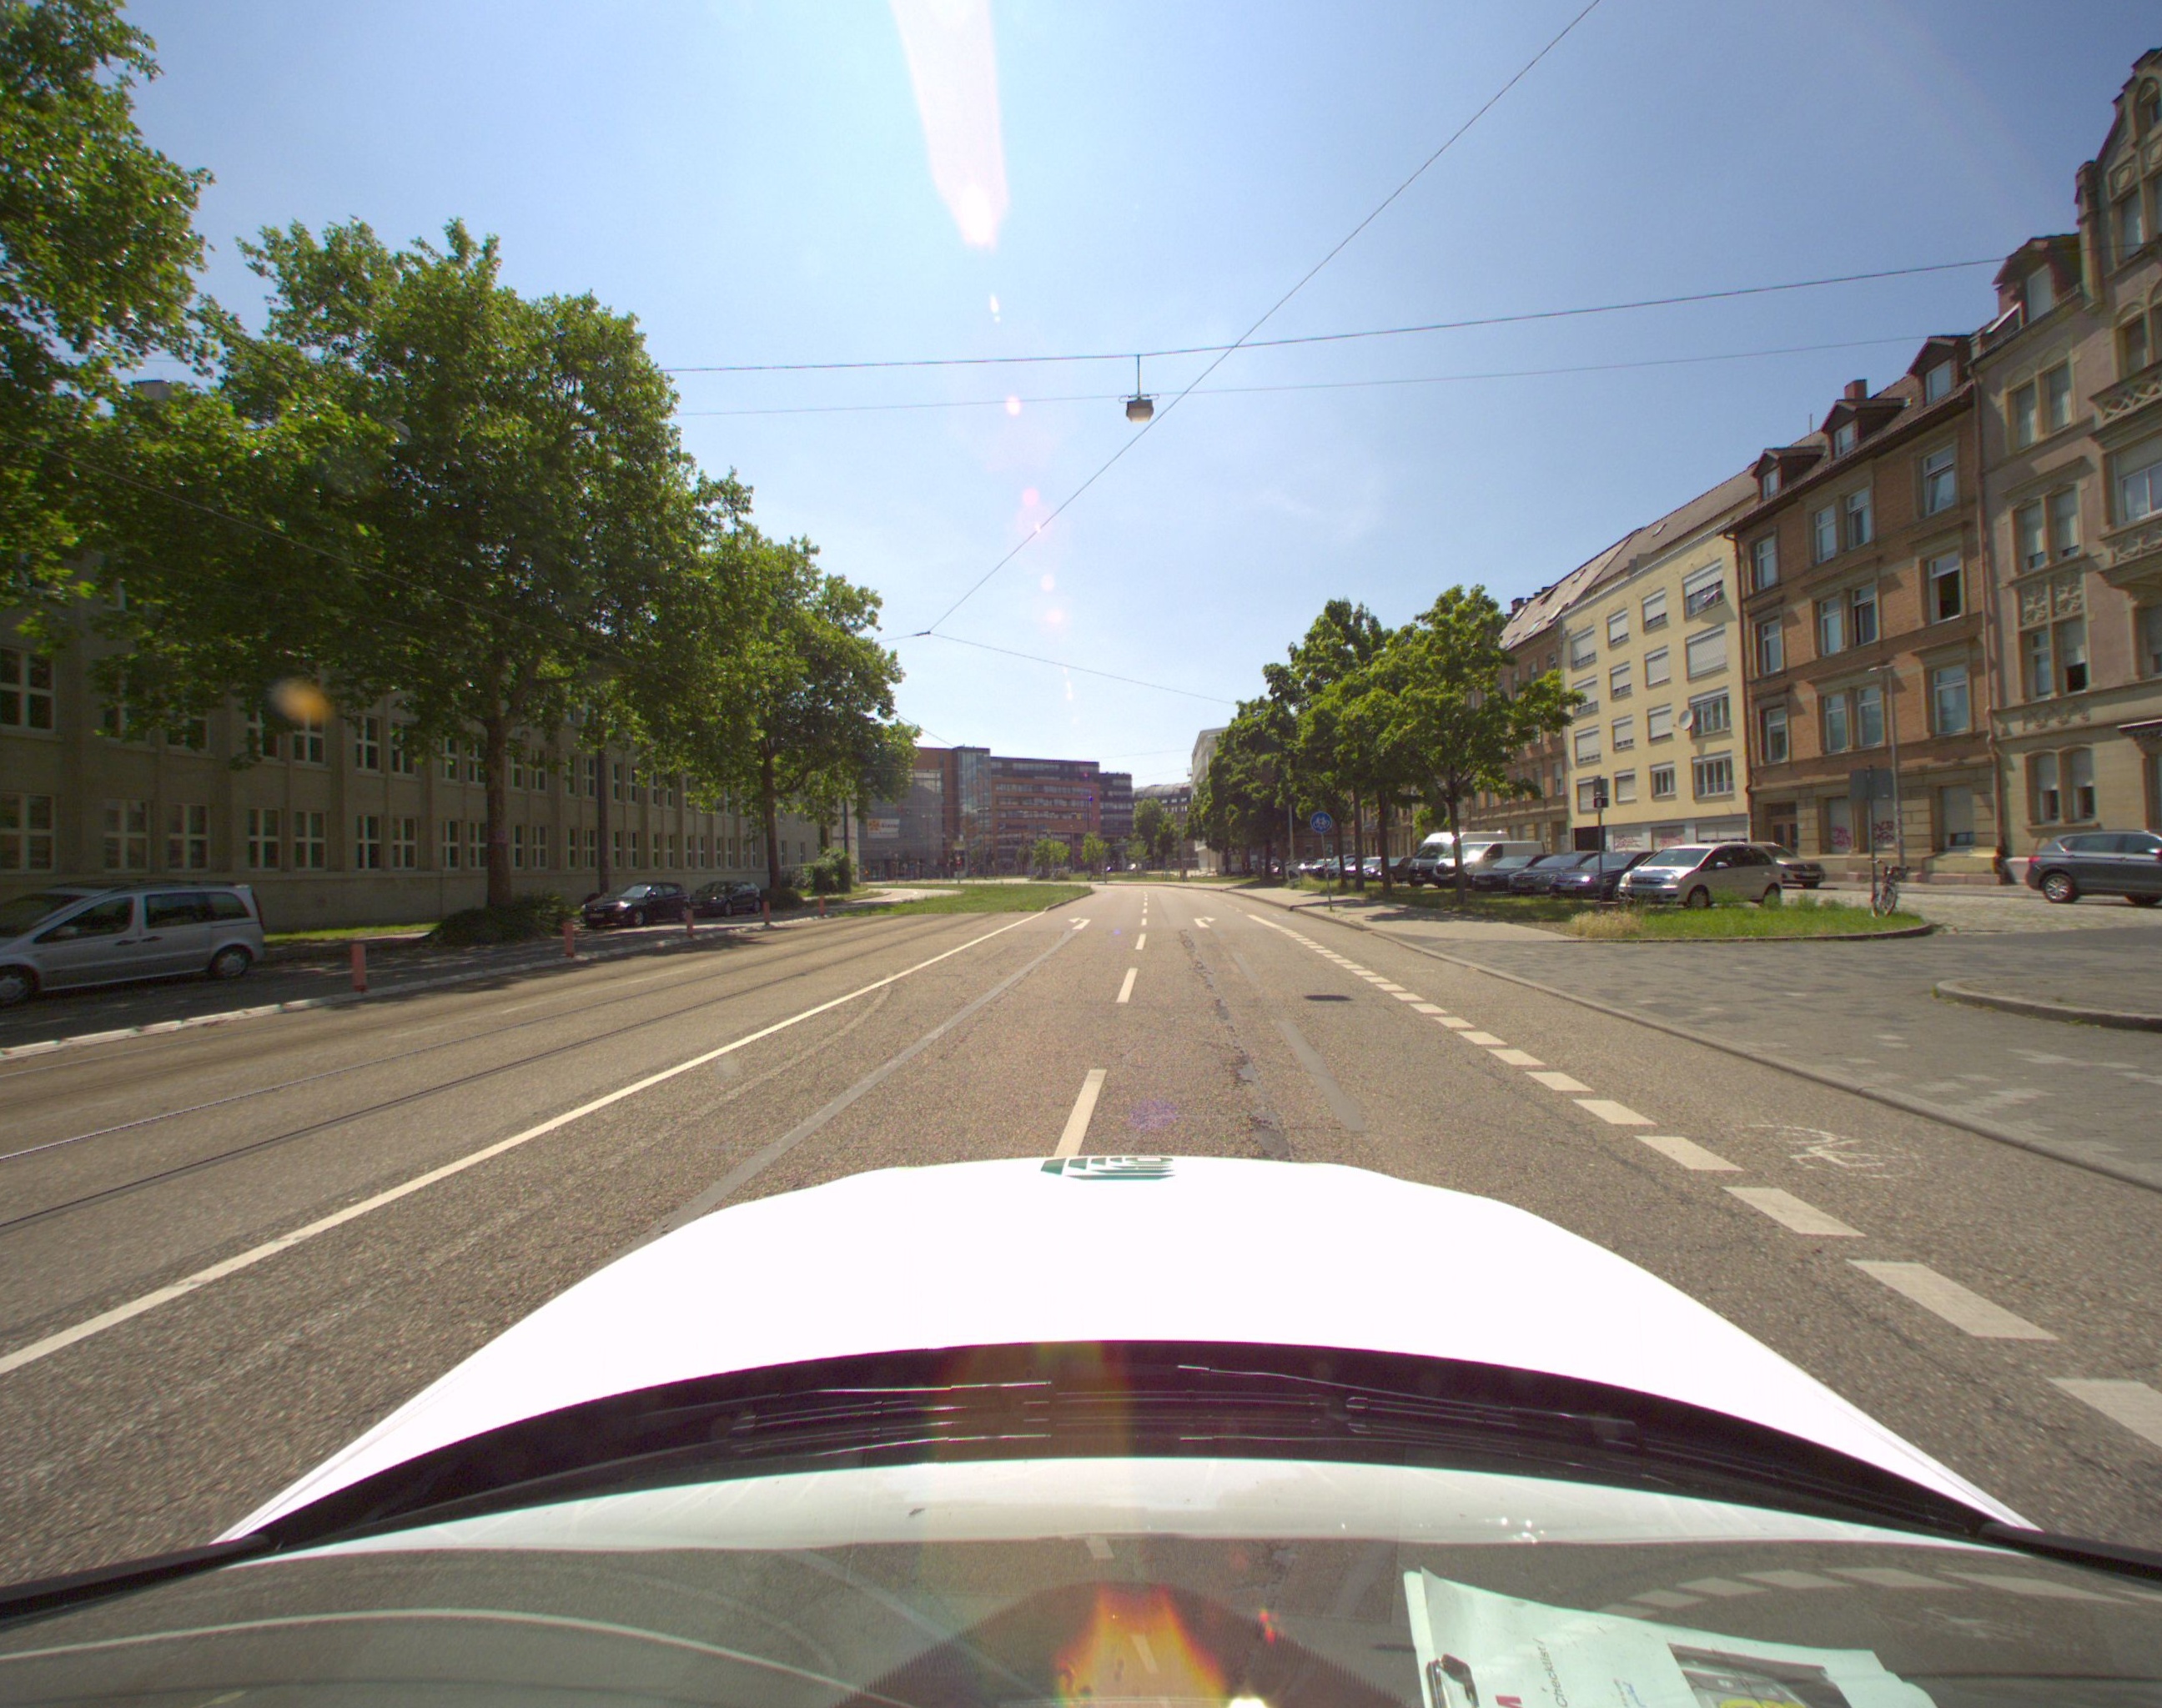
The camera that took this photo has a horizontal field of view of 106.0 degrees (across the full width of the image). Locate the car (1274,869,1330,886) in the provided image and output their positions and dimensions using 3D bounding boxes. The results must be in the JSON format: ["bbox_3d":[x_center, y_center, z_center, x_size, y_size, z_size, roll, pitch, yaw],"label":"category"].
[{"bbox_3d":[18.047,1.906,66.557,3.997,1.313,1.960,0,-2,-18],"label":"car"}]

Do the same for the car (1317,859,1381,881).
[{"bbox_3d":[17.651,1.056,53.651,4.009,1.400,1.697,1,-2,-28],"label":"car"}]

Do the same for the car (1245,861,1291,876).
[{"bbox_3d":[20.934,1.595,90.943,4.879,1.601,1.822,0,-2,-23],"label":"car"}]

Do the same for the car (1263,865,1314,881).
[{"bbox_3d":[18.370,1.687,72.156,4.350,1.376,1.571,0,-2,-22],"label":"car"}]

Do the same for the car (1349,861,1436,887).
[{"bbox_3d":[16.725,1.081,43.739,4.442,1.338,1.954,1,-2,-28],"label":"car"}]

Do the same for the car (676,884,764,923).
[{"bbox_3d":[-14.714,1.980,33.467,1.582,1.424,4.323,0,-1,1],"label":"car"}]

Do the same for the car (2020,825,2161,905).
[{"bbox_3d":[22.726,0.238,16.801,1.980,1.600,4.613,0,-1,12],"label":"car"}]

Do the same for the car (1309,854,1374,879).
[{"bbox_3d":[18.123,0.888,56.755,4.002,1.662,1.958,0,-2,-22],"label":"car"}]

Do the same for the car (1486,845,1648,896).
[{"bbox_3d":[15.464,0.529,25.938,4.633,1.497,1.952,0,-2,-20],"label":"car"}]

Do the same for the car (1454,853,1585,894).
[{"bbox_3d":[15.604,0.690,29.018,3.996,1.387,1.813,0,-2,-17],"label":"car"}]

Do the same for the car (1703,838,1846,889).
[{"bbox_3d":[24.497,0.368,28.967,1.811,1.684,4.003,0,-1,3],"label":"car"}]

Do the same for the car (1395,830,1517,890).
[{"bbox_3d":[16.590,0.287,35.918,5.571,2.461,2.215,1,-2,-32],"label":"car"}]

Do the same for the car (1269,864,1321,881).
[{"bbox_3d":[18.308,1.586,69.716,4.096,1.470,1.784,0,-2,-23],"label":"car"}]

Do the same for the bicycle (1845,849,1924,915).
[{"bbox_3d":[15.651,0.536,15.919,0.731,1.193,2.375,-1,-2,36],"label":"bicycle"}]

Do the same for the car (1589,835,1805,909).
[{"bbox_3d":[14.838,0.433,19.662,4.409,1.632,1.988,0,-2,-18],"label":"car"}]

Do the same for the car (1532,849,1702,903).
[{"bbox_3d":[14.854,0.600,22.604,3.996,1.399,1.813,0,-2,-17],"label":"car"}]

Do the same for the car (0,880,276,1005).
[{"bbox_3d":[-16.634,1.348,13.512,1.983,1.811,4.308,0,-1,6],"label":"car"}]

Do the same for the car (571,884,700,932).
[{"bbox_3d":[-15.222,1.808,28.125,1.754,1.483,4.329,0,-1,5],"label":"car"}]

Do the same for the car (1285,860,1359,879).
[{"bbox_3d":[17.455,1.140,58.945,4.784,1.313,2.137,0,-2,-18],"label":"car"}]

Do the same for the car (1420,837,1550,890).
[{"bbox_3d":[16.124,0.394,32.528,4.855,1.973,2.059,0,-2,-25],"label":"car"}]

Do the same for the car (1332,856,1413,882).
[{"bbox_3d":[16.936,0.864,47.212,4.709,1.427,1.952,1,-2,-32],"label":"car"}]
